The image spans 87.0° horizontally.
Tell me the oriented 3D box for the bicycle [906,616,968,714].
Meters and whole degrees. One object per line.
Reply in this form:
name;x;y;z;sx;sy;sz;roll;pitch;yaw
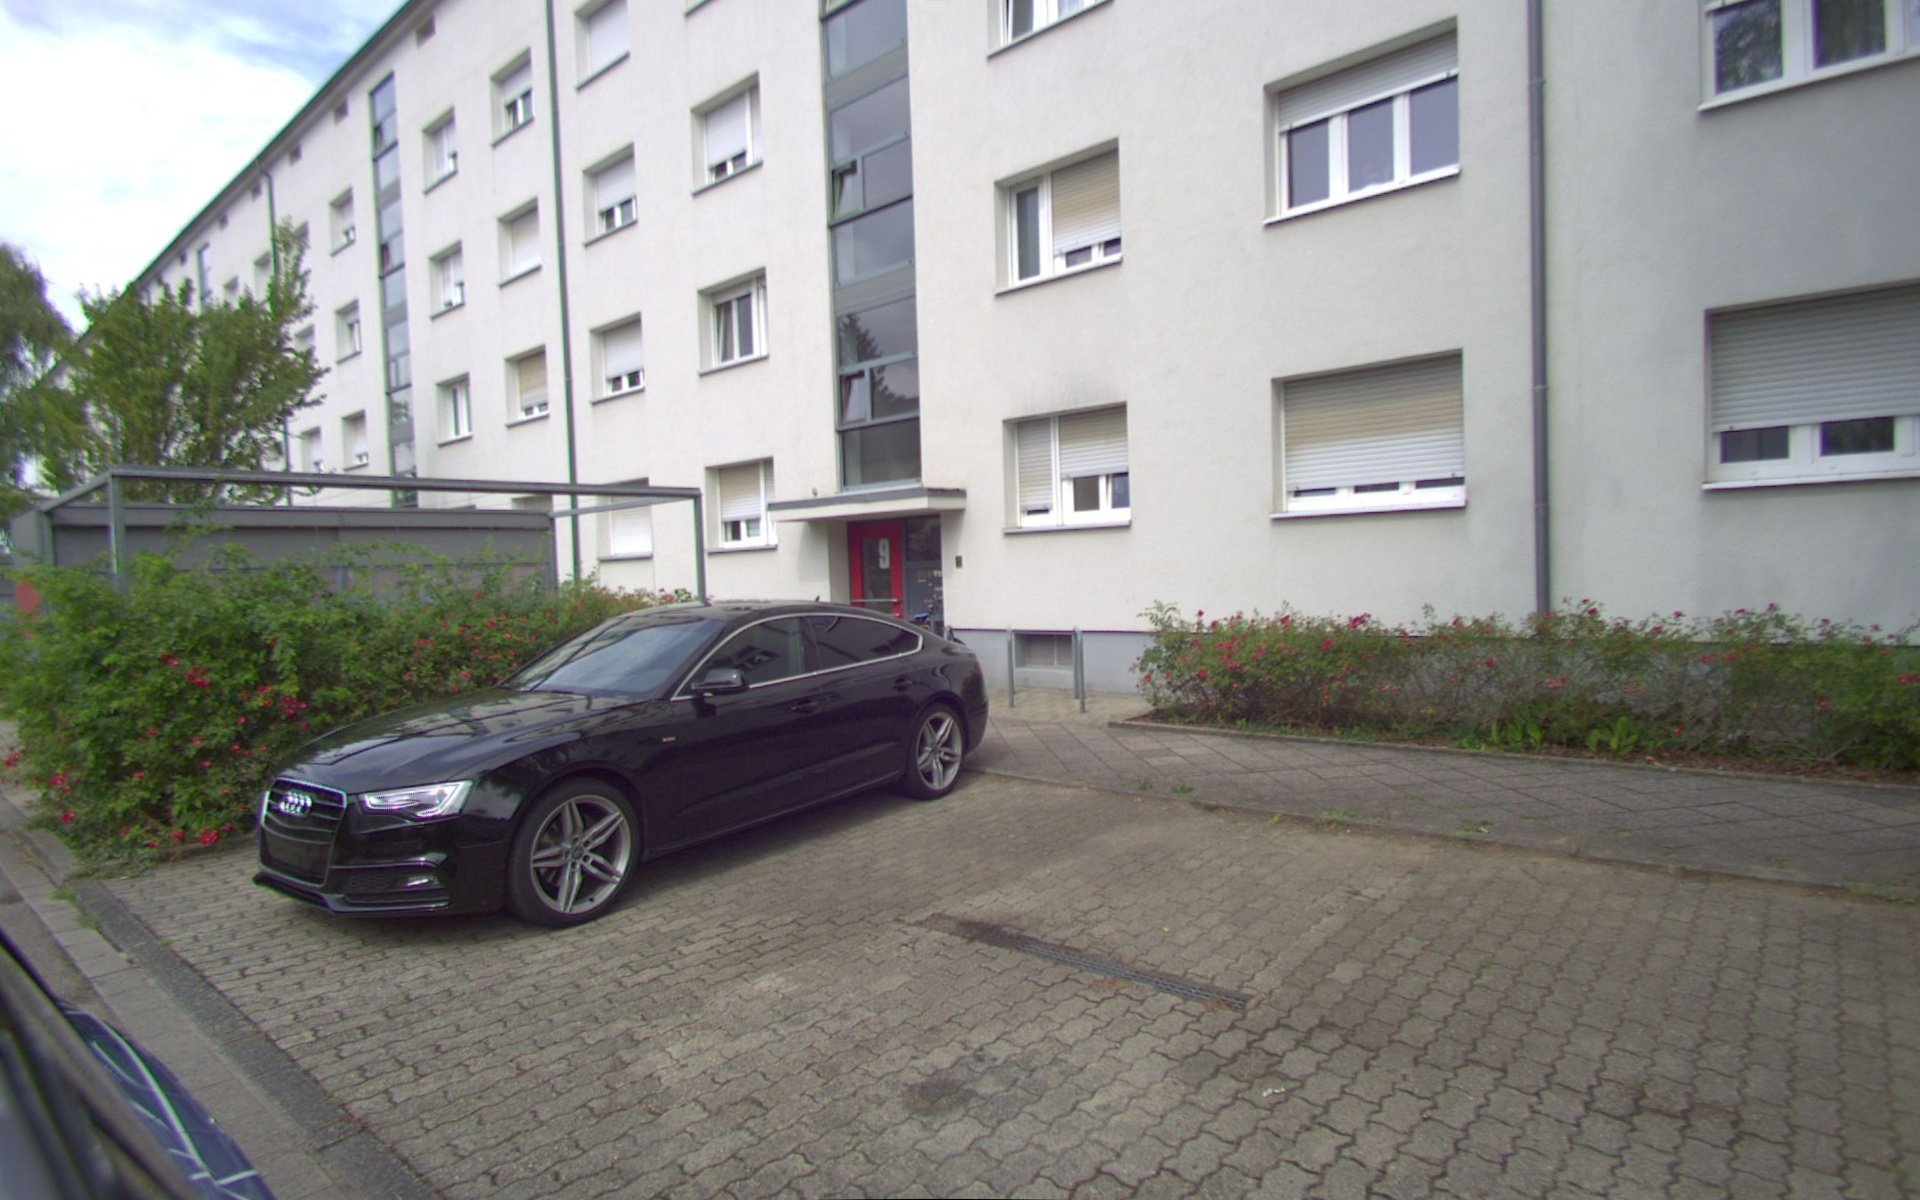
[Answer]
bicycle;-0.232;0.691;11.223;0.390;0.964;1.382;-2;1;11

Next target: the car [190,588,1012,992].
car;-1.654;0.697;6.036;1.919;1.386;4.287;-1;1;35

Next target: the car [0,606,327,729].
car;-11.653;0.888;14.933;1.707;1.492;3.529;-1;0;37
